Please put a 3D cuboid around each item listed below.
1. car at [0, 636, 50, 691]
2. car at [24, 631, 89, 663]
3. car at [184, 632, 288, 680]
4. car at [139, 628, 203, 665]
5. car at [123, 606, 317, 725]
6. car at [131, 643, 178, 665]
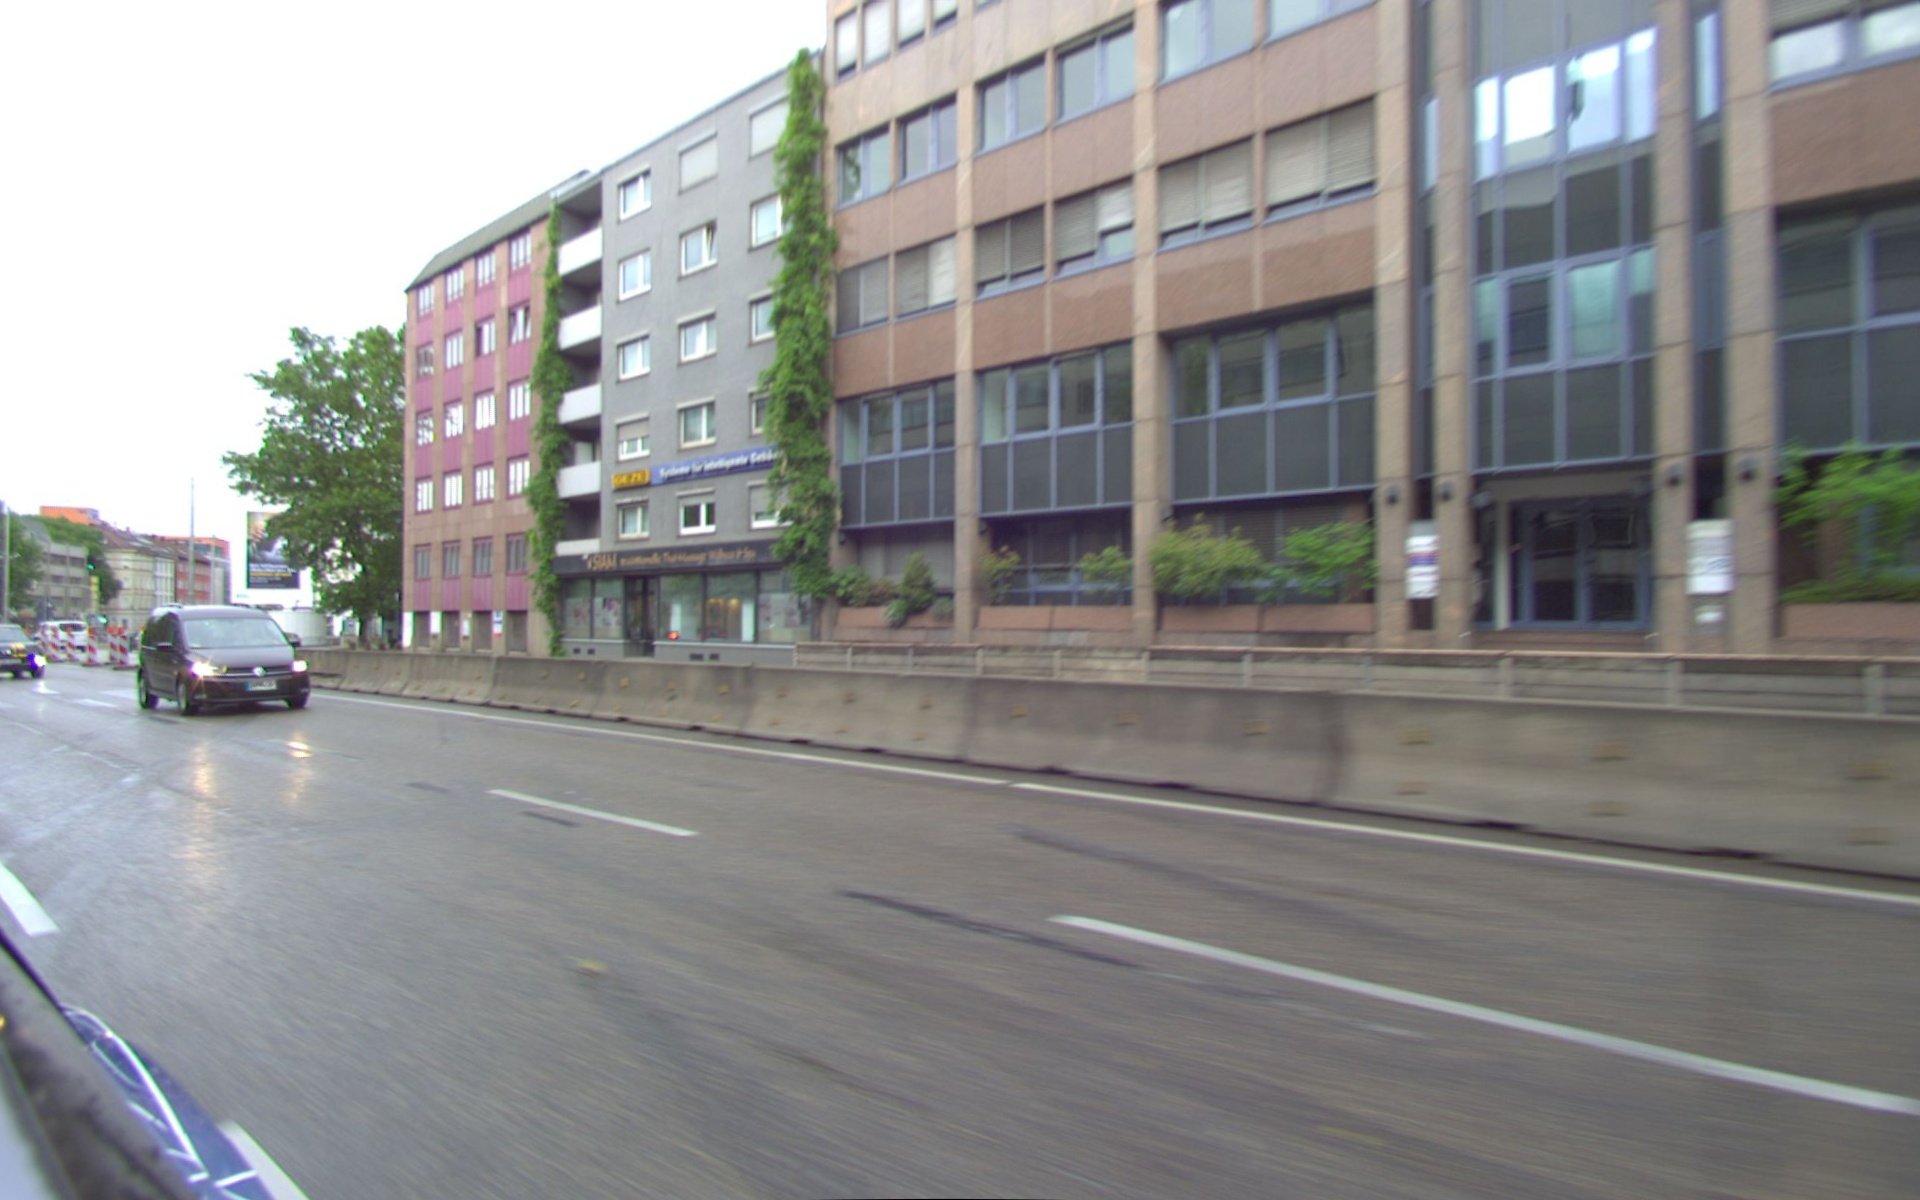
[{"bbox_3d":[-28.698,1.866,29.977,3.994,1.552,1.907,-2,-2,38],"label":"car"},{"bbox_3d":[-59.488,3.069,66.605,5.275,2.005,1.977,-2,-3,34],"label":"car"},{"bbox_3d":[-24.705,1.889,34.500,4.227,1.545,1.842,-2,-3,40],"label":"car"},{"bbox_3d":[-39.862,2.325,51.126,4.423,1.784,1.703,-2,-3,41],"label":"car"},{"bbox_3d":[-12.865,1.070,17.503,4.121,1.813,1.773,-2,-2,40],"label":"car"},{"bbox_3d":[-51.673,3.442,64.893,4.019,1.410,1.681,-2,-3,42],"label":"car"}]
